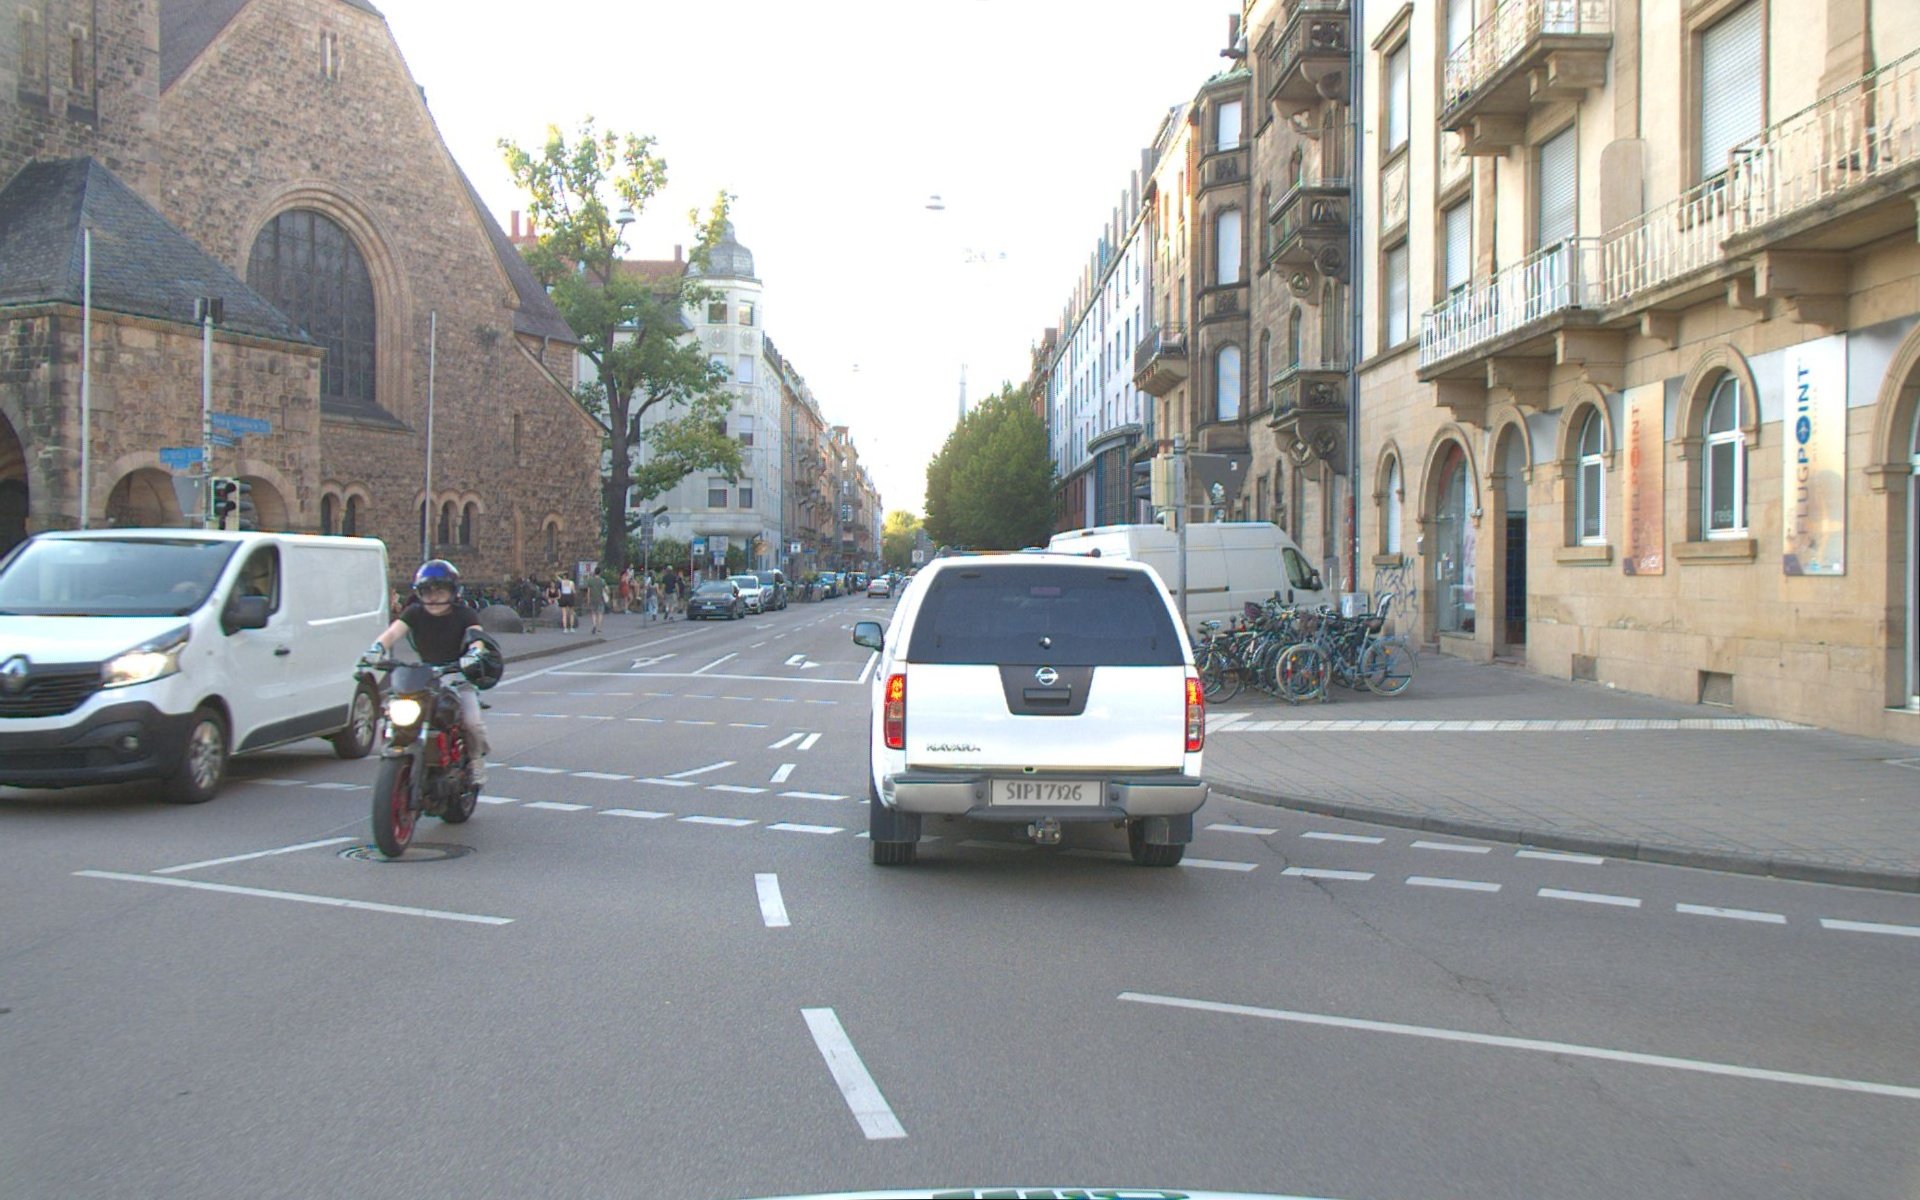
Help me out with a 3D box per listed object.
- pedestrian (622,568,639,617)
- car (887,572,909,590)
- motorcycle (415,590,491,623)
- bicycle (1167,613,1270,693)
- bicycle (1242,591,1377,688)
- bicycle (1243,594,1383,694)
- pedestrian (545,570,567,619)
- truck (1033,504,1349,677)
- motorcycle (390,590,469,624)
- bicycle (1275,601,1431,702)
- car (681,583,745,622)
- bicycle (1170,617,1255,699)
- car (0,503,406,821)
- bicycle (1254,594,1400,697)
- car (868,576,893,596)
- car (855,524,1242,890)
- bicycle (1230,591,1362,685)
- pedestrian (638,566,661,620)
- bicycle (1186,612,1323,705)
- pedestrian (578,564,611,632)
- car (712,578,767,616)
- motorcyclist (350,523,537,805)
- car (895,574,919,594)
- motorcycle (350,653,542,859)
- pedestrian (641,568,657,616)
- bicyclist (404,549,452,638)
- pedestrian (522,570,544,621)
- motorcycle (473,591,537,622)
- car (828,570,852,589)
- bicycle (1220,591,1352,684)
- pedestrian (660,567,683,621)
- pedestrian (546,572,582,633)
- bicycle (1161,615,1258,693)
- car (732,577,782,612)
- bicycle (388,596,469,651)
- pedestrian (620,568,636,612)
[{"bbox_3d":[-12.929,-0.297,64.865,0.632,1.888,0.560,1,0,-14],"label":"pedestrian"},{"bbox_3d":[-5.498,-1.671,145.863,1.882,1.556,3.998,1,0,-3],"label":"car"},{"bbox_3d":[-16.162,0.208,52.774,2.200,1.005,0.707,1,0,-6],"label":"motorcycle"},{"bbox_3d":[3.631,0.742,23.254,1.344,1.042,0.317,-3,0,-2],"label":"bicycle"},{"bbox_3d":[4.969,0.560,23.565,1.781,1.259,0.412,-3,0,-2],"label":"bicycle"},{"bbox_3d":[4.868,0.598,22.840,1.781,1.259,0.477,-3,0,-2],"label":"bicycle"},{"bbox_3d":[-14.373,-0.197,58.867,0.629,1.725,0.562,1,0,-1],"label":"pedestrian"},{"bbox_3d":[3.985,-0.159,27.747,5.628,2.609,2.252,0,1,-43],"label":"truck"},{"bbox_3d":[-16.263,0.221,50.746,2.200,1.005,0.707,1,0,-6],"label":"motorcycle"},{"bbox_3d":[5.022,0.651,21.188,1.781,1.170,0.636,-3,0,-2],"label":"bicycle"},{"bbox_3d":[-9.319,0.077,62.606,1.821,1.422,4.000,1,0,-1],"label":"car"},{"bbox_3d":[3.442,0.792,22.543,1.055,1.042,0.317,-3,0,-2],"label":"bicycle"},{"bbox_3d":[-6.197,0.389,13.176,1.953,2.049,4.949,0,0,-1],"label":"car"},{"bbox_3d":[4.904,0.598,22.129,1.781,1.259,0.488,-3,0,-2],"label":"bicycle"},{"bbox_3d":[-6.385,-1.152,133.178,1.820,1.556,4.000,1,0,1],"label":"car"},{"bbox_3d":[0.462,0.535,10.475,1.953,1.841,4.000,1,0,0],"label":"car"},{"bbox_3d":[4.901,0.555,24.171,1.781,1.259,0.410,-3,0,-2],"label":"bicycle"},{"bbox_3d":[-10.903,-0.248,58.116,0.635,1.888,0.556,1,0,-29],"label":"pedestrian"},{"bbox_3d":[3.854,0.759,21.658,1.692,1.102,0.317,-3,0,-2],"label":"bicycle"},{"bbox_3d":[-10.434,-0.064,47.252,0.796,1.934,0.666,1,0,-2],"label":"pedestrian"},{"bbox_3d":[-9.413,-0.132,70.801,1.821,1.556,4.000,1,0,-1],"label":"car"},{"bbox_3d":[-3.205,0.378,10.346,0.857,1.673,0.963,1,0,-1],"label":"motorcyclist"},{"bbox_3d":[-4.347,-1.305,135.553,1.821,1.556,4.000,1,0,-1],"label":"car"},{"bbox_3d":[-3.104,0.897,10.166,0.587,1.062,1.945,1,0,-1],"label":"motorcycle"},{"bbox_3d":[-12.284,-0.305,65.340,0.549,1.888,0.644,1,0,-8],"label":"pedestrian"},{"bbox_3d":[-11.290,-0.134,35.113,0.642,1.859,0.860,1,0,8],"label":"bicyclist"},{"bbox_3d":[-14.596,-0.144,56.566,0.631,1.725,0.561,1,0,-8],"label":"pedestrian"},{"bbox_3d":[-15.151,0.209,55.058,2.120,1.005,0.594,1,0,20],"label":"motorcycle"},{"bbox_3d":[-10.376,-1.752,143.509,1.821,1.556,4.000,1,0,-1],"label":"car"},{"bbox_3d":[4.860,0.553,24.702,1.818,1.259,0.530,-3,0,-2],"label":"bicycle"},{"bbox_3d":[-10.186,-0.209,58.356,0.635,1.888,0.556,1,0,-29],"label":"pedestrian"},{"bbox_3d":[-11.267,0.060,47.062,0.796,1.698,0.859,1,0,-2],"label":"pedestrian"},{"bbox_3d":[3.587,0.771,23.801,1.306,1.042,0.317,-3,0,-2],"label":"bicycle"},{"bbox_3d":[-9.465,-0.249,77.383,1.821,1.556,4.000,1,0,-1],"label":"car"},{"bbox_3d":[-11.263,0.480,35.151,0.642,1.096,2.247,1,0,10],"label":"bicycle"},{"bbox_3d":[-13.171,-0.391,65.705,0.549,1.725,0.644,1,0,-8],"label":"pedestrian"}]
